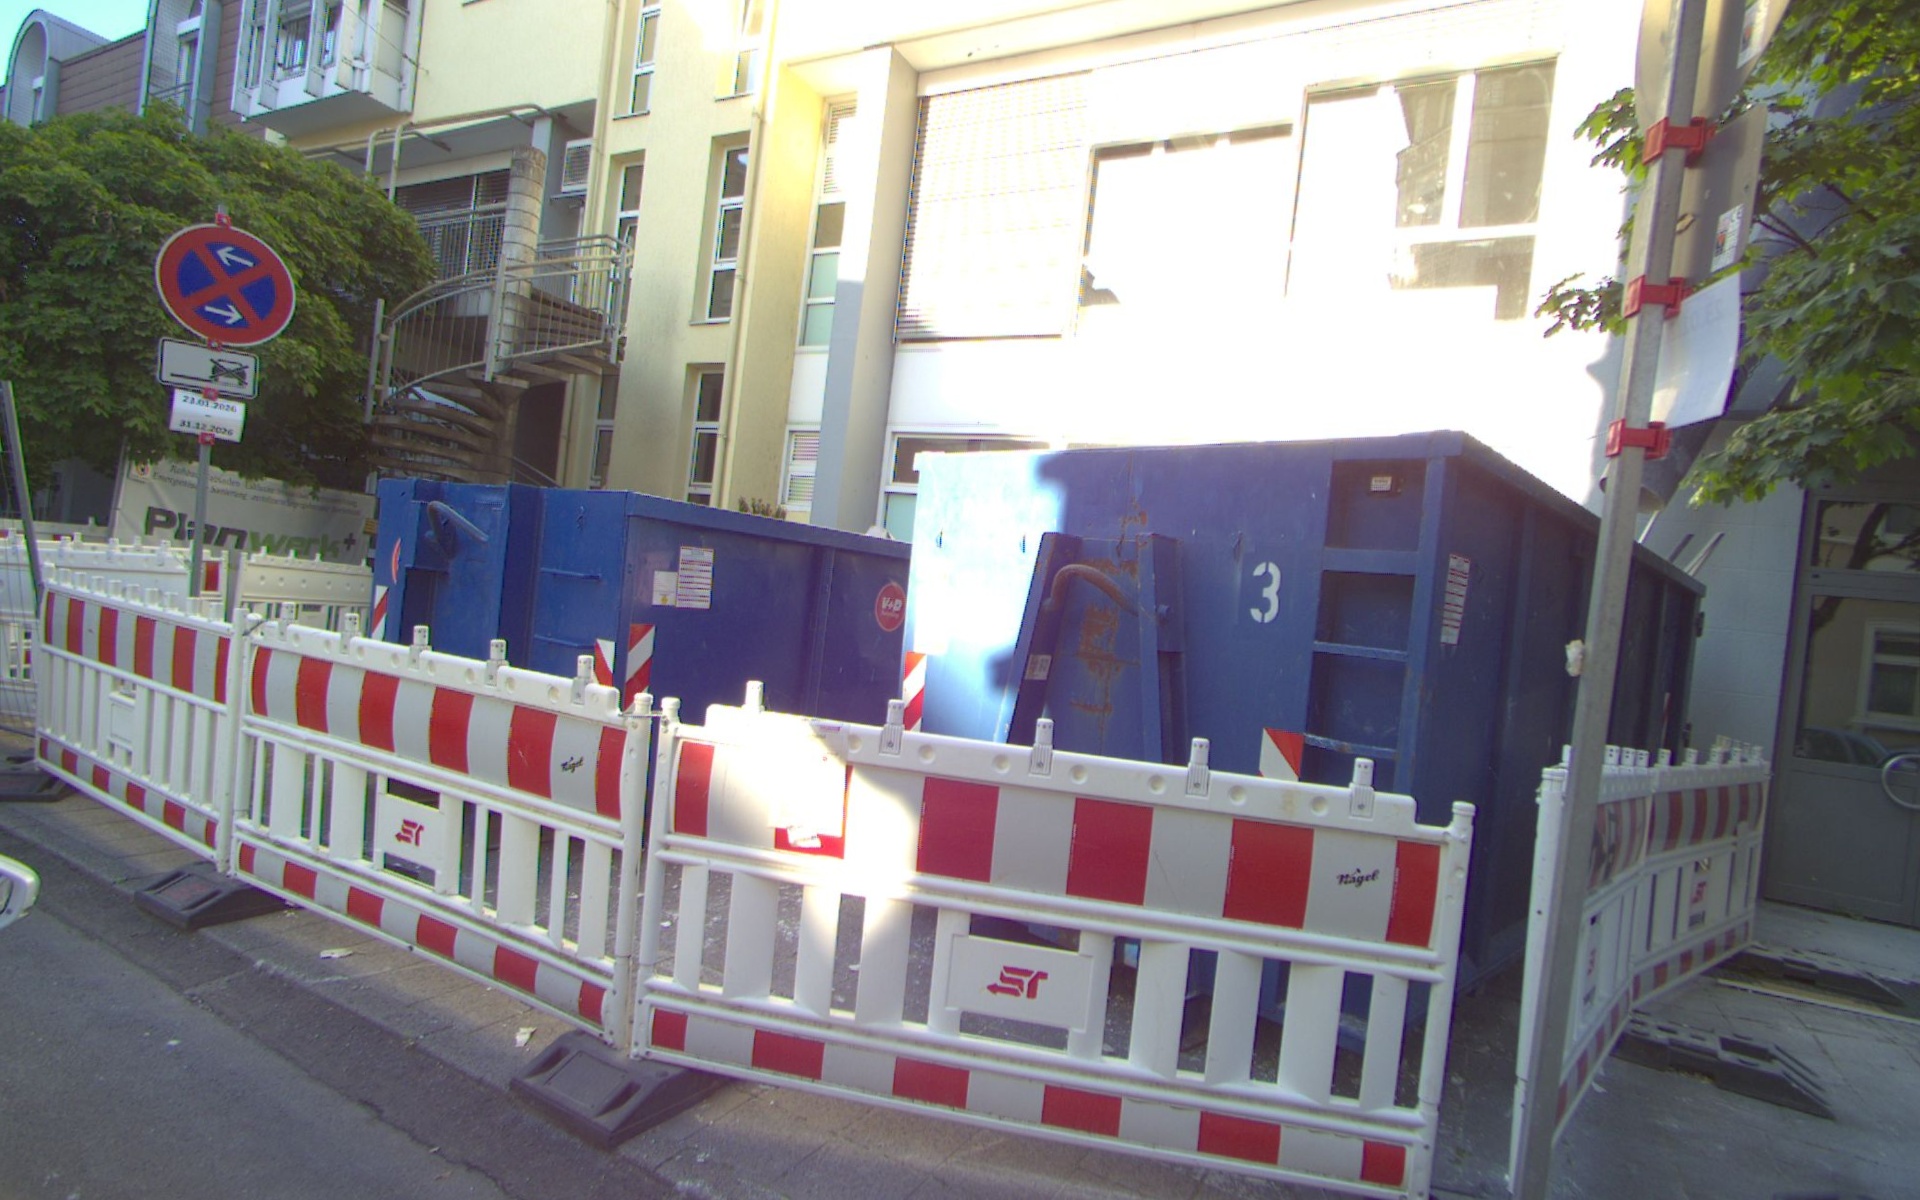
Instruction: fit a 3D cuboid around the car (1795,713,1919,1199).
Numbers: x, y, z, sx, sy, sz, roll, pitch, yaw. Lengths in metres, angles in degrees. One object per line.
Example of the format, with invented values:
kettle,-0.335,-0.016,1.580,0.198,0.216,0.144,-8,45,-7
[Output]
car,2.953,1.121,0.483,3.668,1.495,1.677,7,1,32
